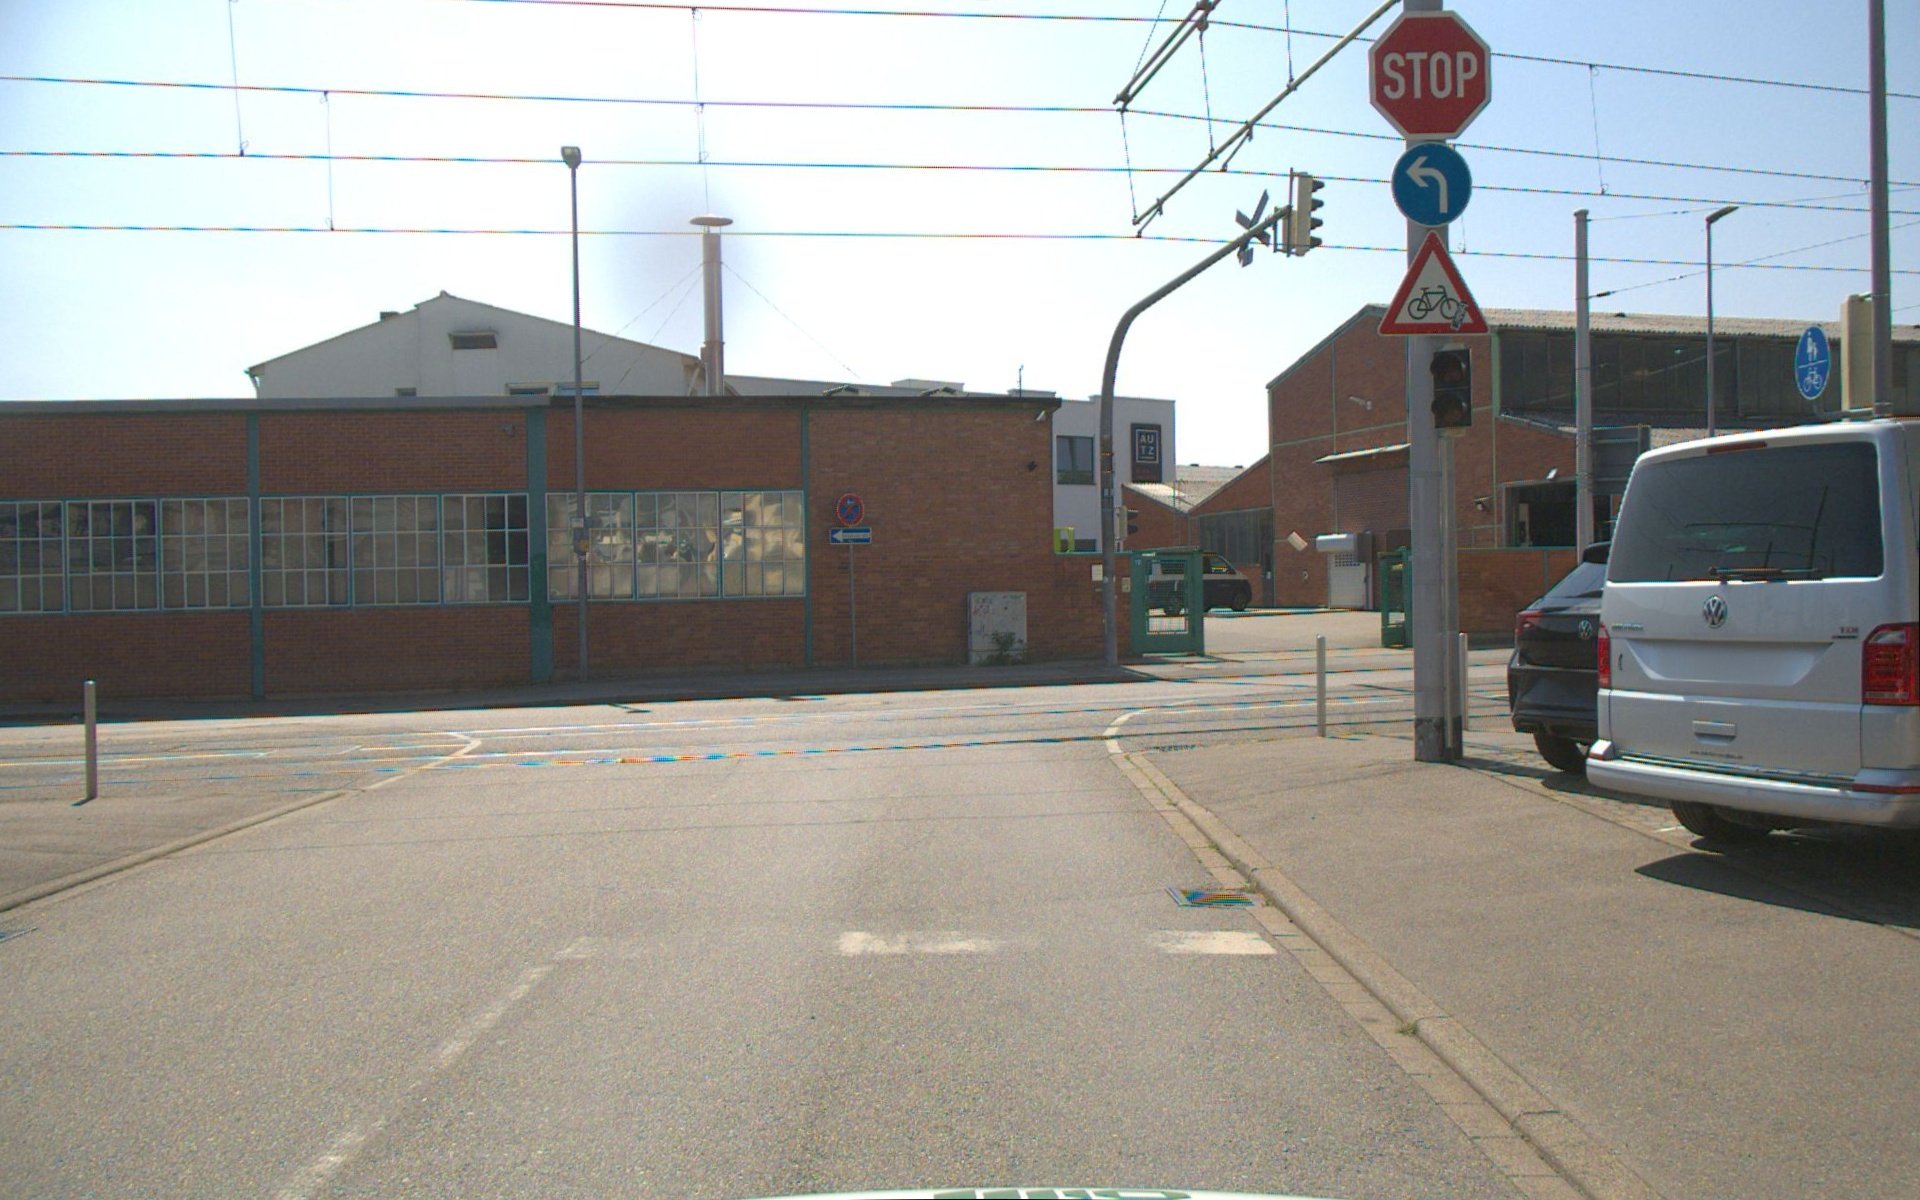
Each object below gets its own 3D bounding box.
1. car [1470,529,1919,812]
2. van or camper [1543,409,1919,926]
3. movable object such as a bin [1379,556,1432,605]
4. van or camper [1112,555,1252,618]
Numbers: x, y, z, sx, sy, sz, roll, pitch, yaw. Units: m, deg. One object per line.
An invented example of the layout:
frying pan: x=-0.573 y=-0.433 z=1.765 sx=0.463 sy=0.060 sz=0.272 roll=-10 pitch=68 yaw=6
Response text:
car: x=5.479 y=0.353 z=10.775 sx=3.912 sy=1.547 sz=1.865 roll=-1 pitch=0 yaw=-26
van or camper: x=5.295 y=0.171 z=7.952 sx=4.476 sy=1.941 sz=1.988 roll=-2 pitch=1 yaw=-21
movable object such as a bin: x=12.559 y=-0.540 z=46.671 sx=0.959 sy=1.337 sz=1.146 roll=-2 pitch=0 yaw=-17
van or camper: x=7.186 y=-0.406 z=53.437 sx=4.374 sy=1.933 sz=1.974 roll=1 pitch=-1 yaw=-37
